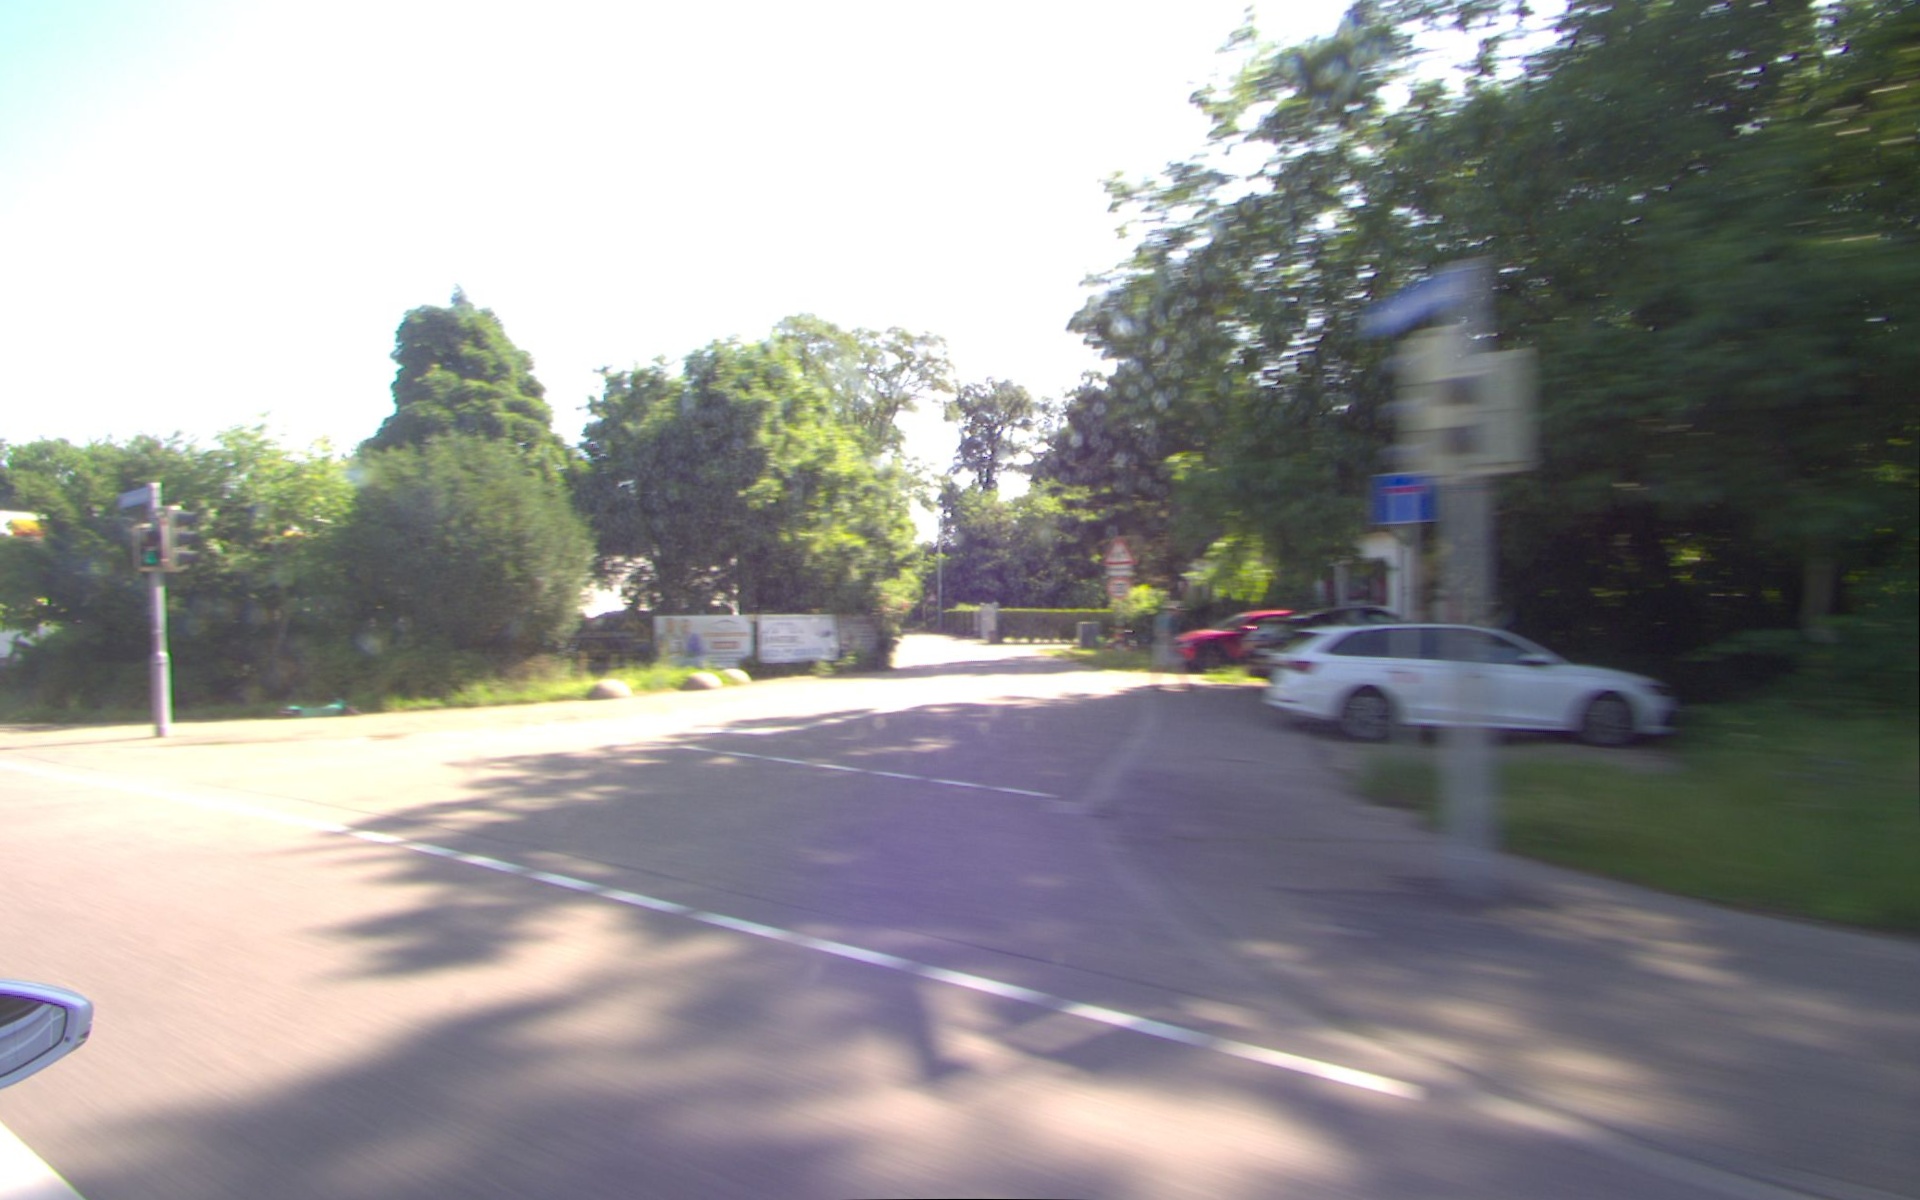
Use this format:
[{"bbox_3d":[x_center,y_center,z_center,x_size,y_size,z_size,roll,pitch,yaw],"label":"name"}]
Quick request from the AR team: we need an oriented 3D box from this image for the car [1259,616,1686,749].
[{"bbox_3d":[6.194,0.980,12.645,4.529,1.483,1.627,-1,0,14],"label":"car"}]

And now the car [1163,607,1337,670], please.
[{"bbox_3d":[7.307,0.956,25.460,3.910,1.483,1.629,-1,0,-2],"label":"car"}]

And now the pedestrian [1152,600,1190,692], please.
[{"bbox_3d":[3.826,0.829,18.193,0.598,1.651,0.414,-1,1,5],"label":"pedestrian"}]

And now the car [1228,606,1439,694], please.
[{"bbox_3d":[7.130,0.891,19.086,3.730,1.483,1.623,-1,0,-25],"label":"car"}]
